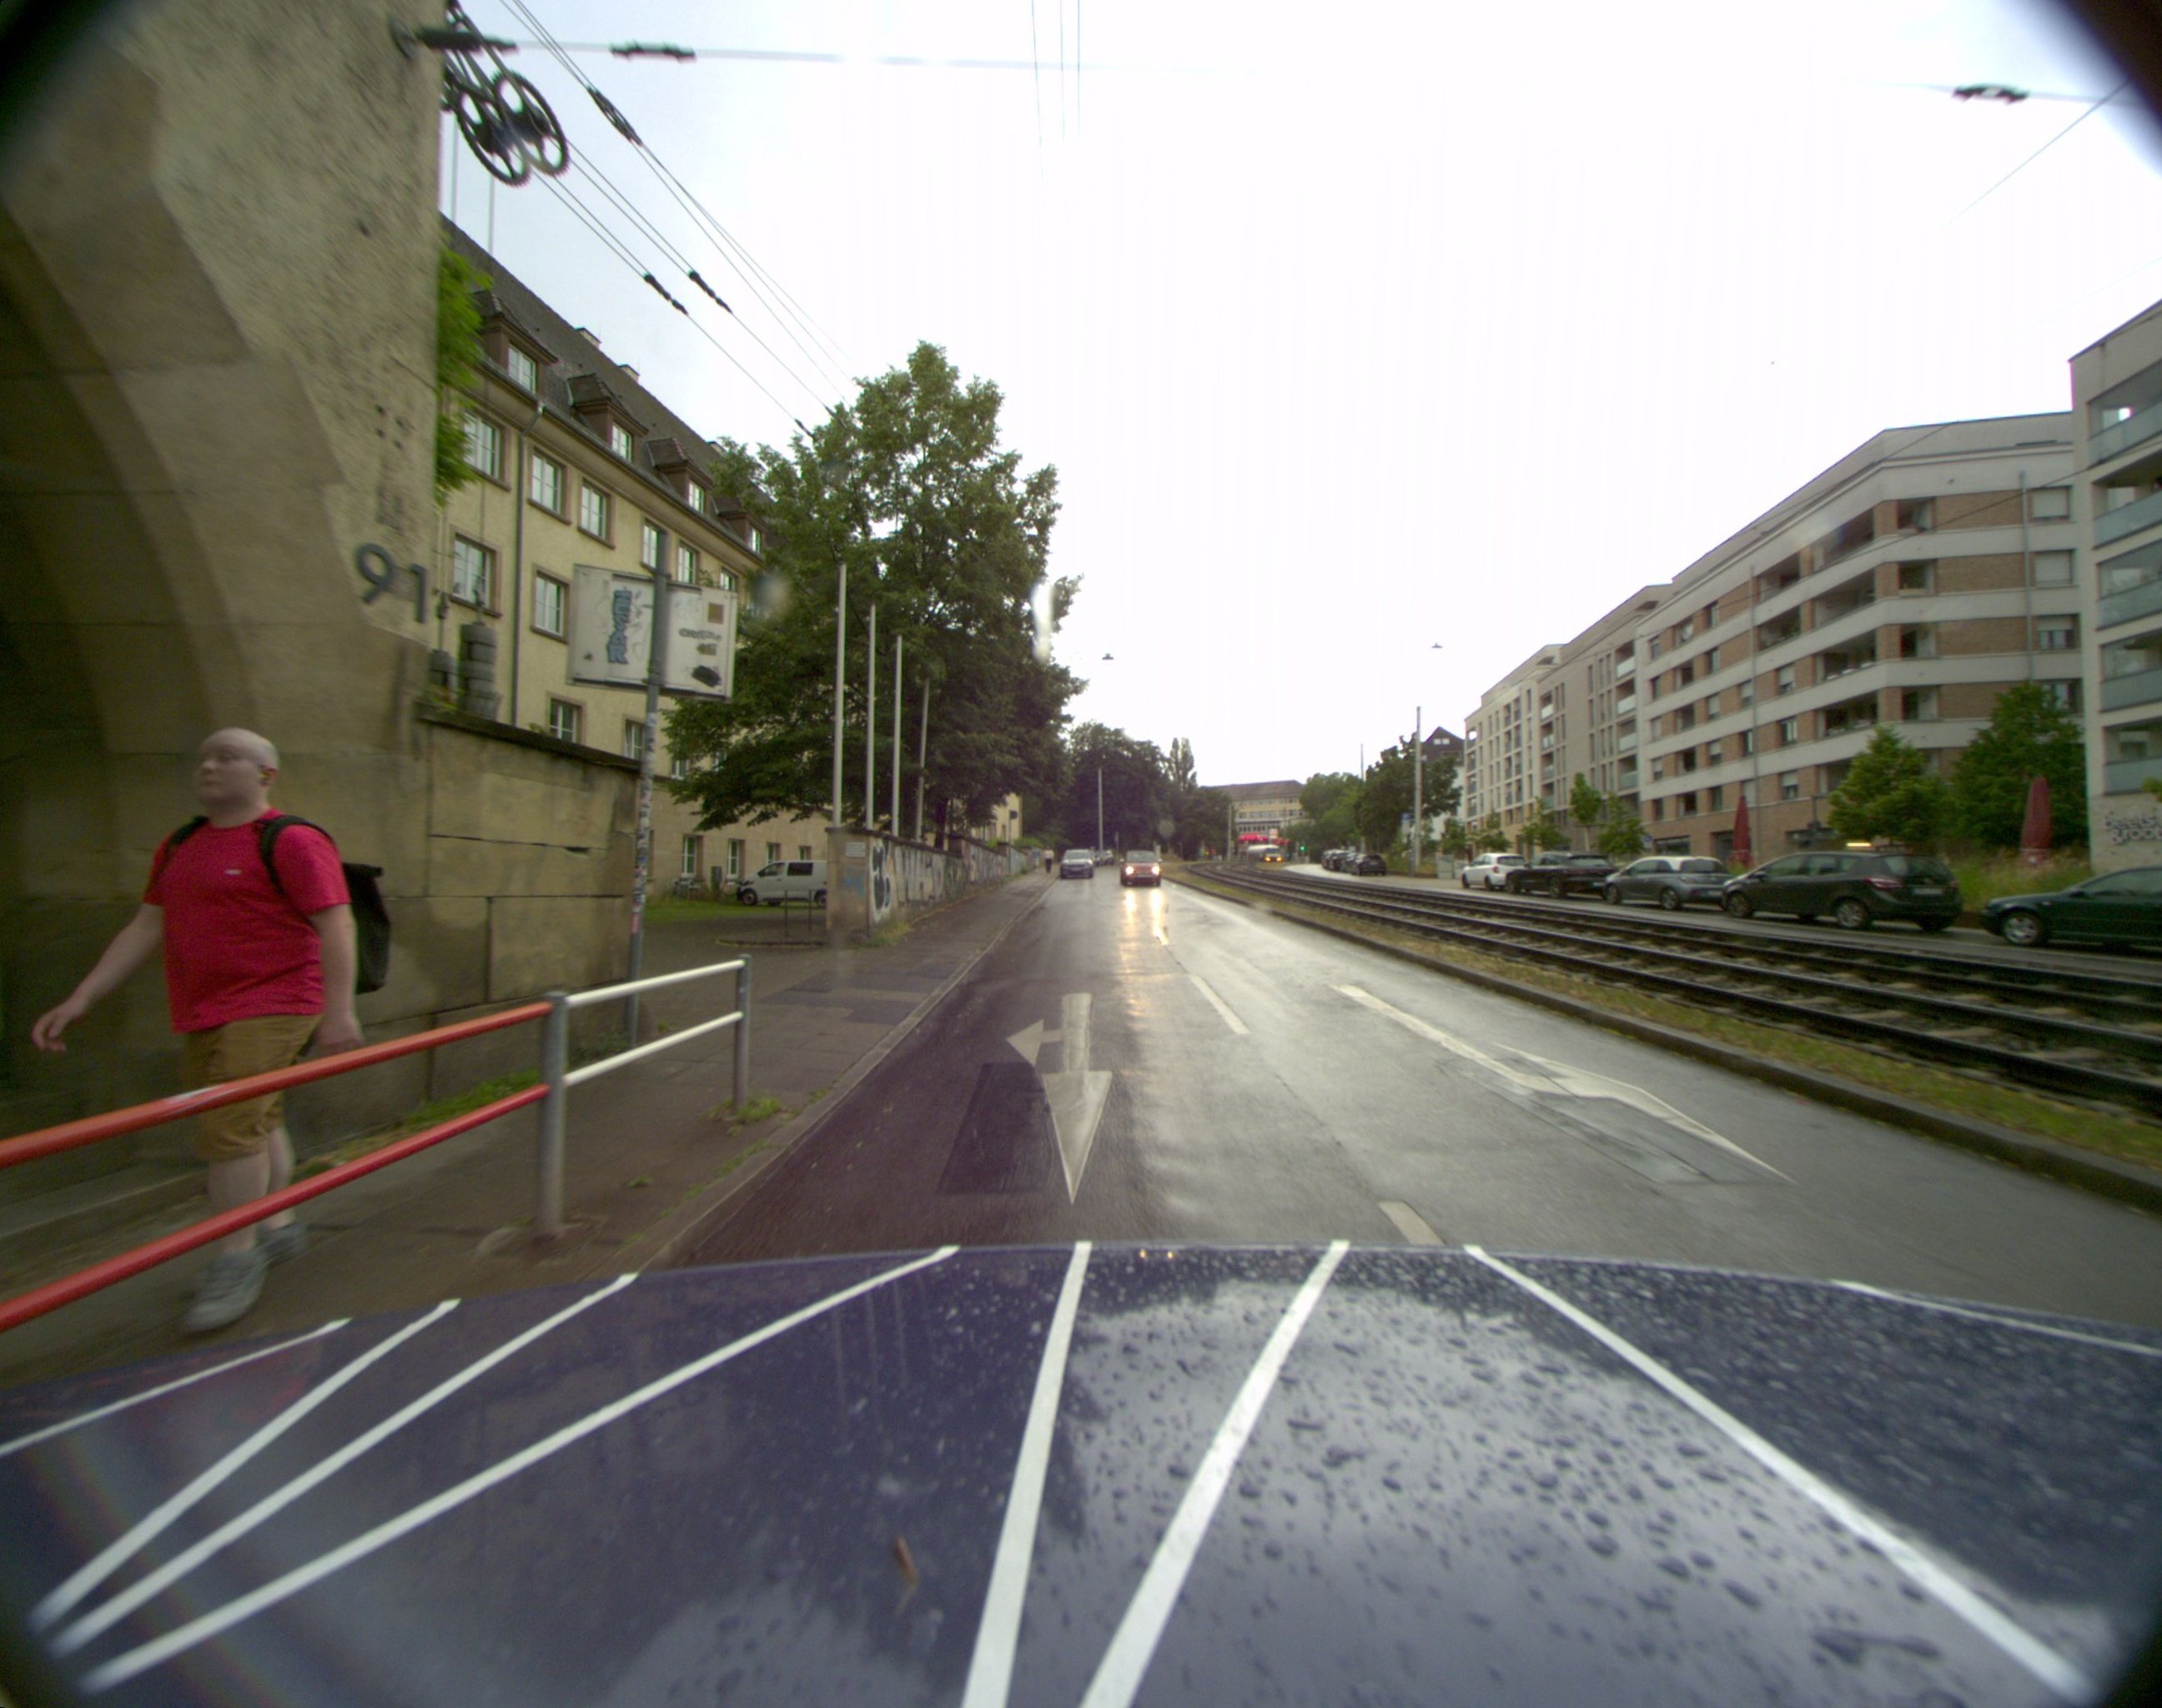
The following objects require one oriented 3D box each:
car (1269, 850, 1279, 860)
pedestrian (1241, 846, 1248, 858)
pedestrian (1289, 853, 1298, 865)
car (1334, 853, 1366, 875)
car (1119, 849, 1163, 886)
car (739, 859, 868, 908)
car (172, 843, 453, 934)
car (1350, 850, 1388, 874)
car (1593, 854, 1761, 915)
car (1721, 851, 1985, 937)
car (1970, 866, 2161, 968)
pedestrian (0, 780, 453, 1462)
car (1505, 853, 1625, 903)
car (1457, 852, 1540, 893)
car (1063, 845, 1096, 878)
[{"bbox_3d":[33.992,0.170,133.655,1.666,1.598,3.812,-2,1,16],"label":"car"},{"bbox_3d":[24.737,-0.252,114.896,0.816,1.754,0.751,3,1,40],"label":"pedestrian"},{"bbox_3d":[30.592,0.693,109.391,0.816,1.754,0.751,3,1,39],"label":"pedestrian"},{"bbox_3d":[20.654,0.754,58.392,1.653,1.456,3.672,-2,1,9],"label":"car"},{"bbox_3d":[2.625,0.569,33.865,1.594,1.456,3.669,-2,1,0],"label":"car"},{"bbox_3d":[-11.165,1.183,30.704,4.526,1.769,1.824,-2,1,12],"label":"car"},{"bbox_3d":[-14.243,0.617,14.178,3.910,1.462,1.613,-2,1,8],"label":"car"},{"bbox_3d":[19.075,0.500,50.465,1.653,1.456,3.672,-2,1,9],"label":"car"},{"bbox_3d":[16.626,0.779,21.474,1.684,1.496,3.928,-1,1,0],"label":"car"},{"bbox_3d":[16.304,0.755,16.381,1.684,1.554,3.928,-1,1,0],"label":"car"},{"bbox_3d":[16.411,0.933,11.293,1.684,1.373,4.032,-1,1,0],"label":"car"},{"bbox_3d":[-2.690,0.688,2.351,0.748,1.754,0.818,-1,1,0],"label":"pedestrian"},{"bbox_3d":[16.635,0.757,26.396,1.683,1.496,4.406,-1,1,5],"label":"car"},{"bbox_3d":[17.143,0.711,31.398,1.649,1.496,3.782,-1,1,6],"label":"car"},{"bbox_3d":[-0.081,0.363,42.678,1.726,1.676,3.865,-2,1,0],"label":"car"}]
